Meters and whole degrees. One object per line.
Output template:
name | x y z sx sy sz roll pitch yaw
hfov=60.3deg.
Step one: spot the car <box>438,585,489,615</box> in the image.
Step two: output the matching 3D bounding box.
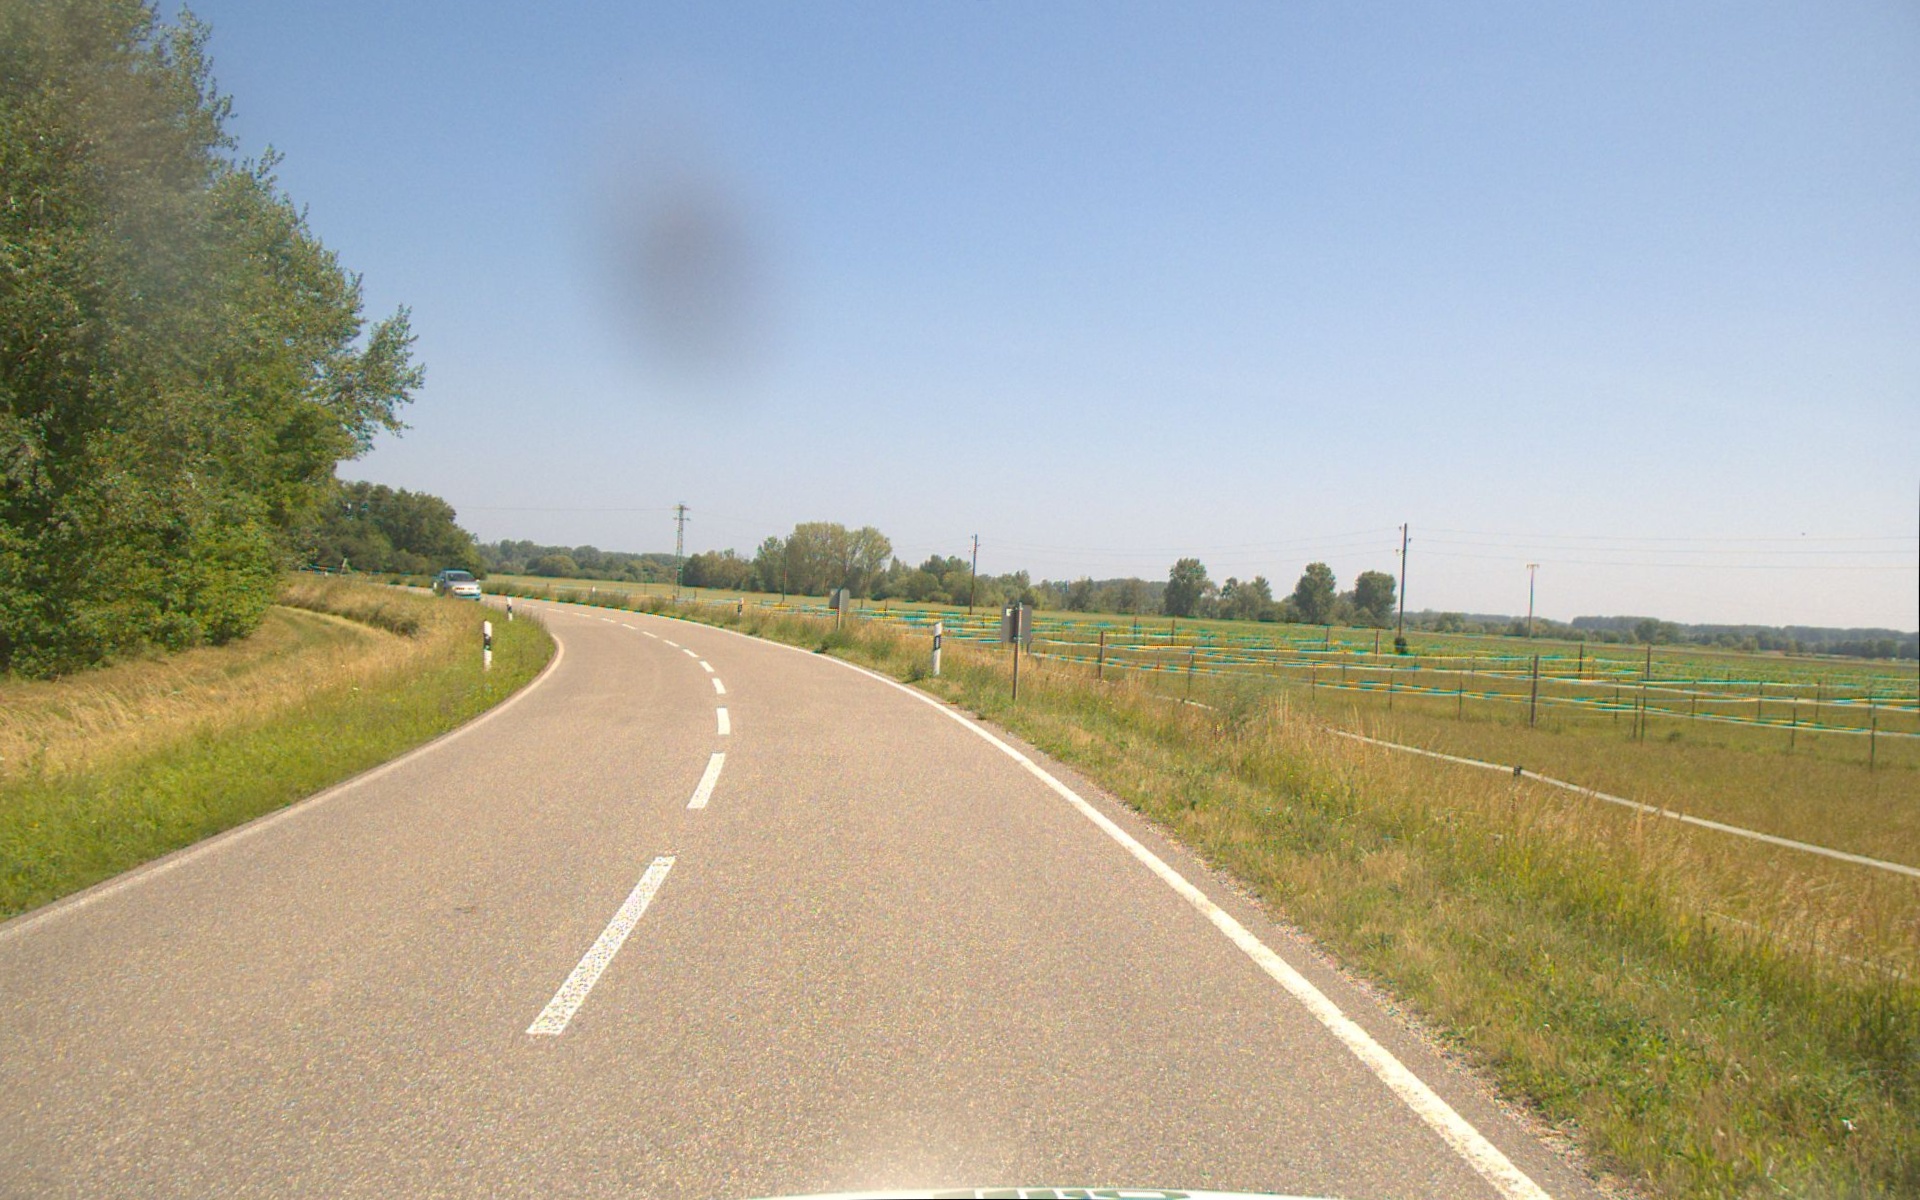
car | -25.111 -0.032 83.542 1.763 1.452 4.024 -1 1 -27
